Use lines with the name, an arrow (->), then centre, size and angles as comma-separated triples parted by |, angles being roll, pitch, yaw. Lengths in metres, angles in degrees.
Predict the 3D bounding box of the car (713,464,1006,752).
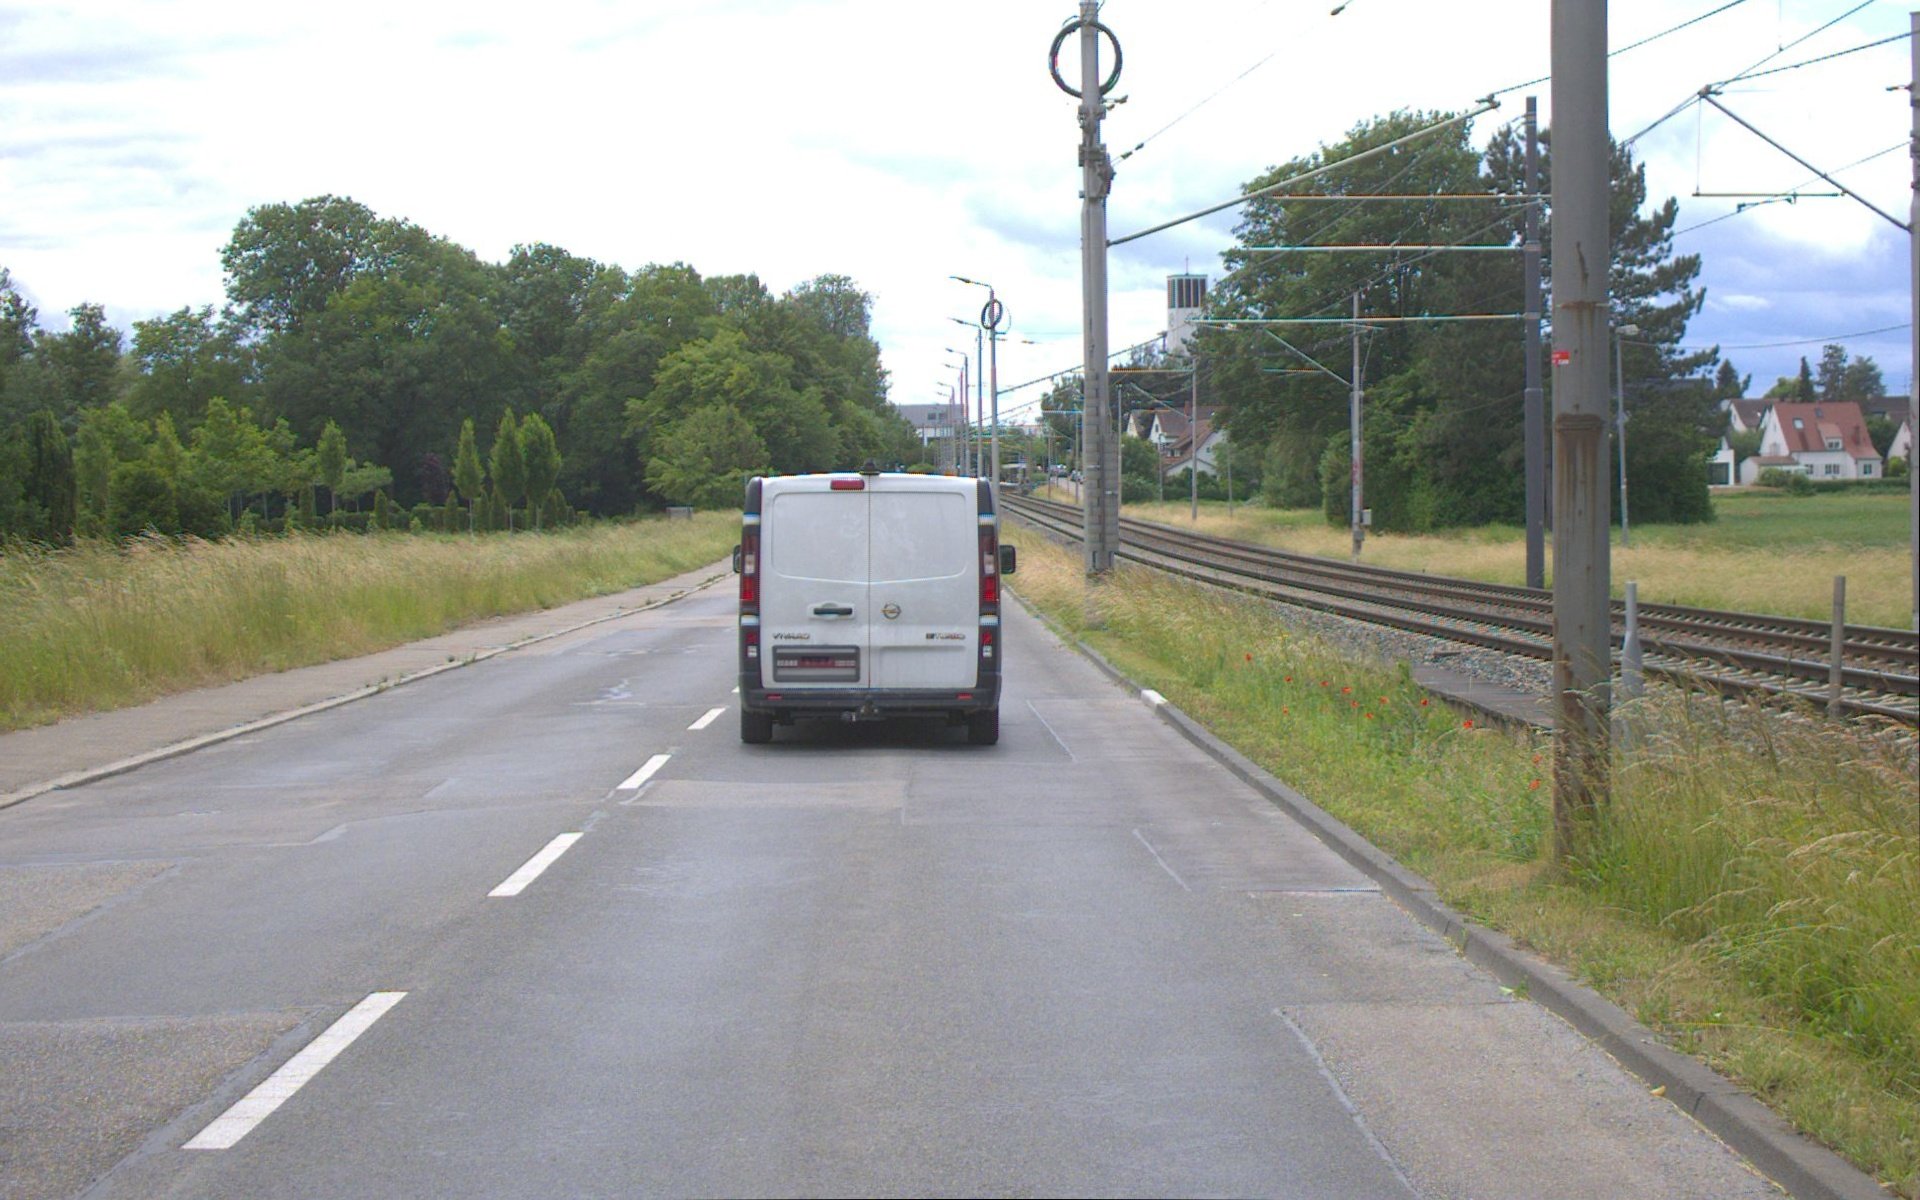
car -> -0.747, 0.029, 25.508 | 1.993, 1.950, 4.000 | 0, 1, -2
